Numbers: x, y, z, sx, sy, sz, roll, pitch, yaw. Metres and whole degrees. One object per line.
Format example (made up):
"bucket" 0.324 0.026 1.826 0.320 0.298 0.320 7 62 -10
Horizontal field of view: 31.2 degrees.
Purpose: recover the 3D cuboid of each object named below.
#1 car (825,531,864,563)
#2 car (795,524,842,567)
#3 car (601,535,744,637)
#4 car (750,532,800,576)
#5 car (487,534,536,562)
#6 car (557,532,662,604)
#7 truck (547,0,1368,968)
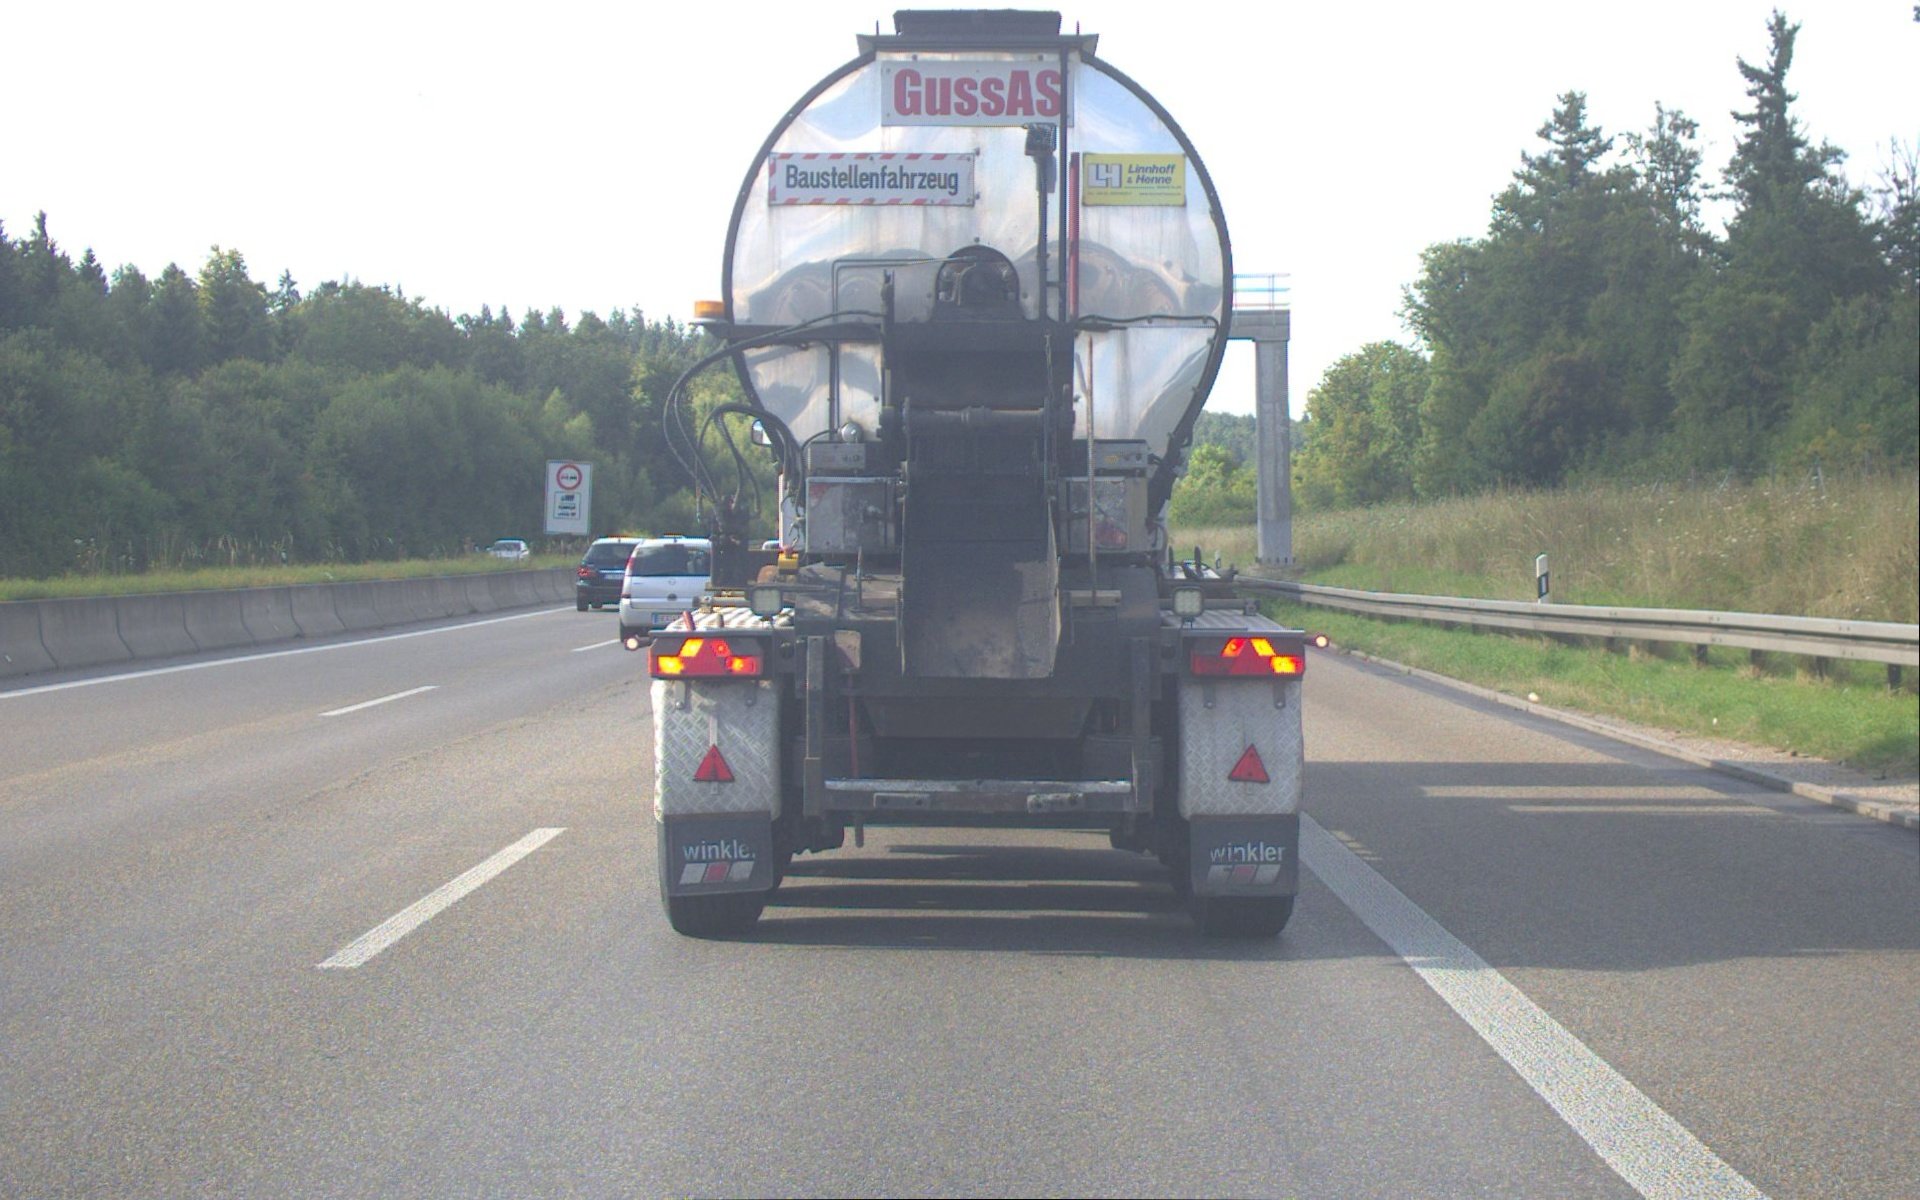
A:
"car" -5.840 -2.680 174.478 1.807 1.580 4.207 1 1 0
"car" -5.949 -2.295 144.755 1.845 1.777 4.000 0 1 -1
"car" -4.411 -0.246 53.272 1.835 1.512 4.333 0 1 0
"car" -6.671 -1.661 124.294 1.618 1.539 3.520 1 1 0
"car" -21.013 -2.429 161.284 1.816 1.286 3.544 0 1 1
"car" -7.614 -0.711 75.008 1.835 1.512 4.333 0 1 0
"truck" 0.048 -0.869 17.898 2.913 4.143 11.270 0 1 1
